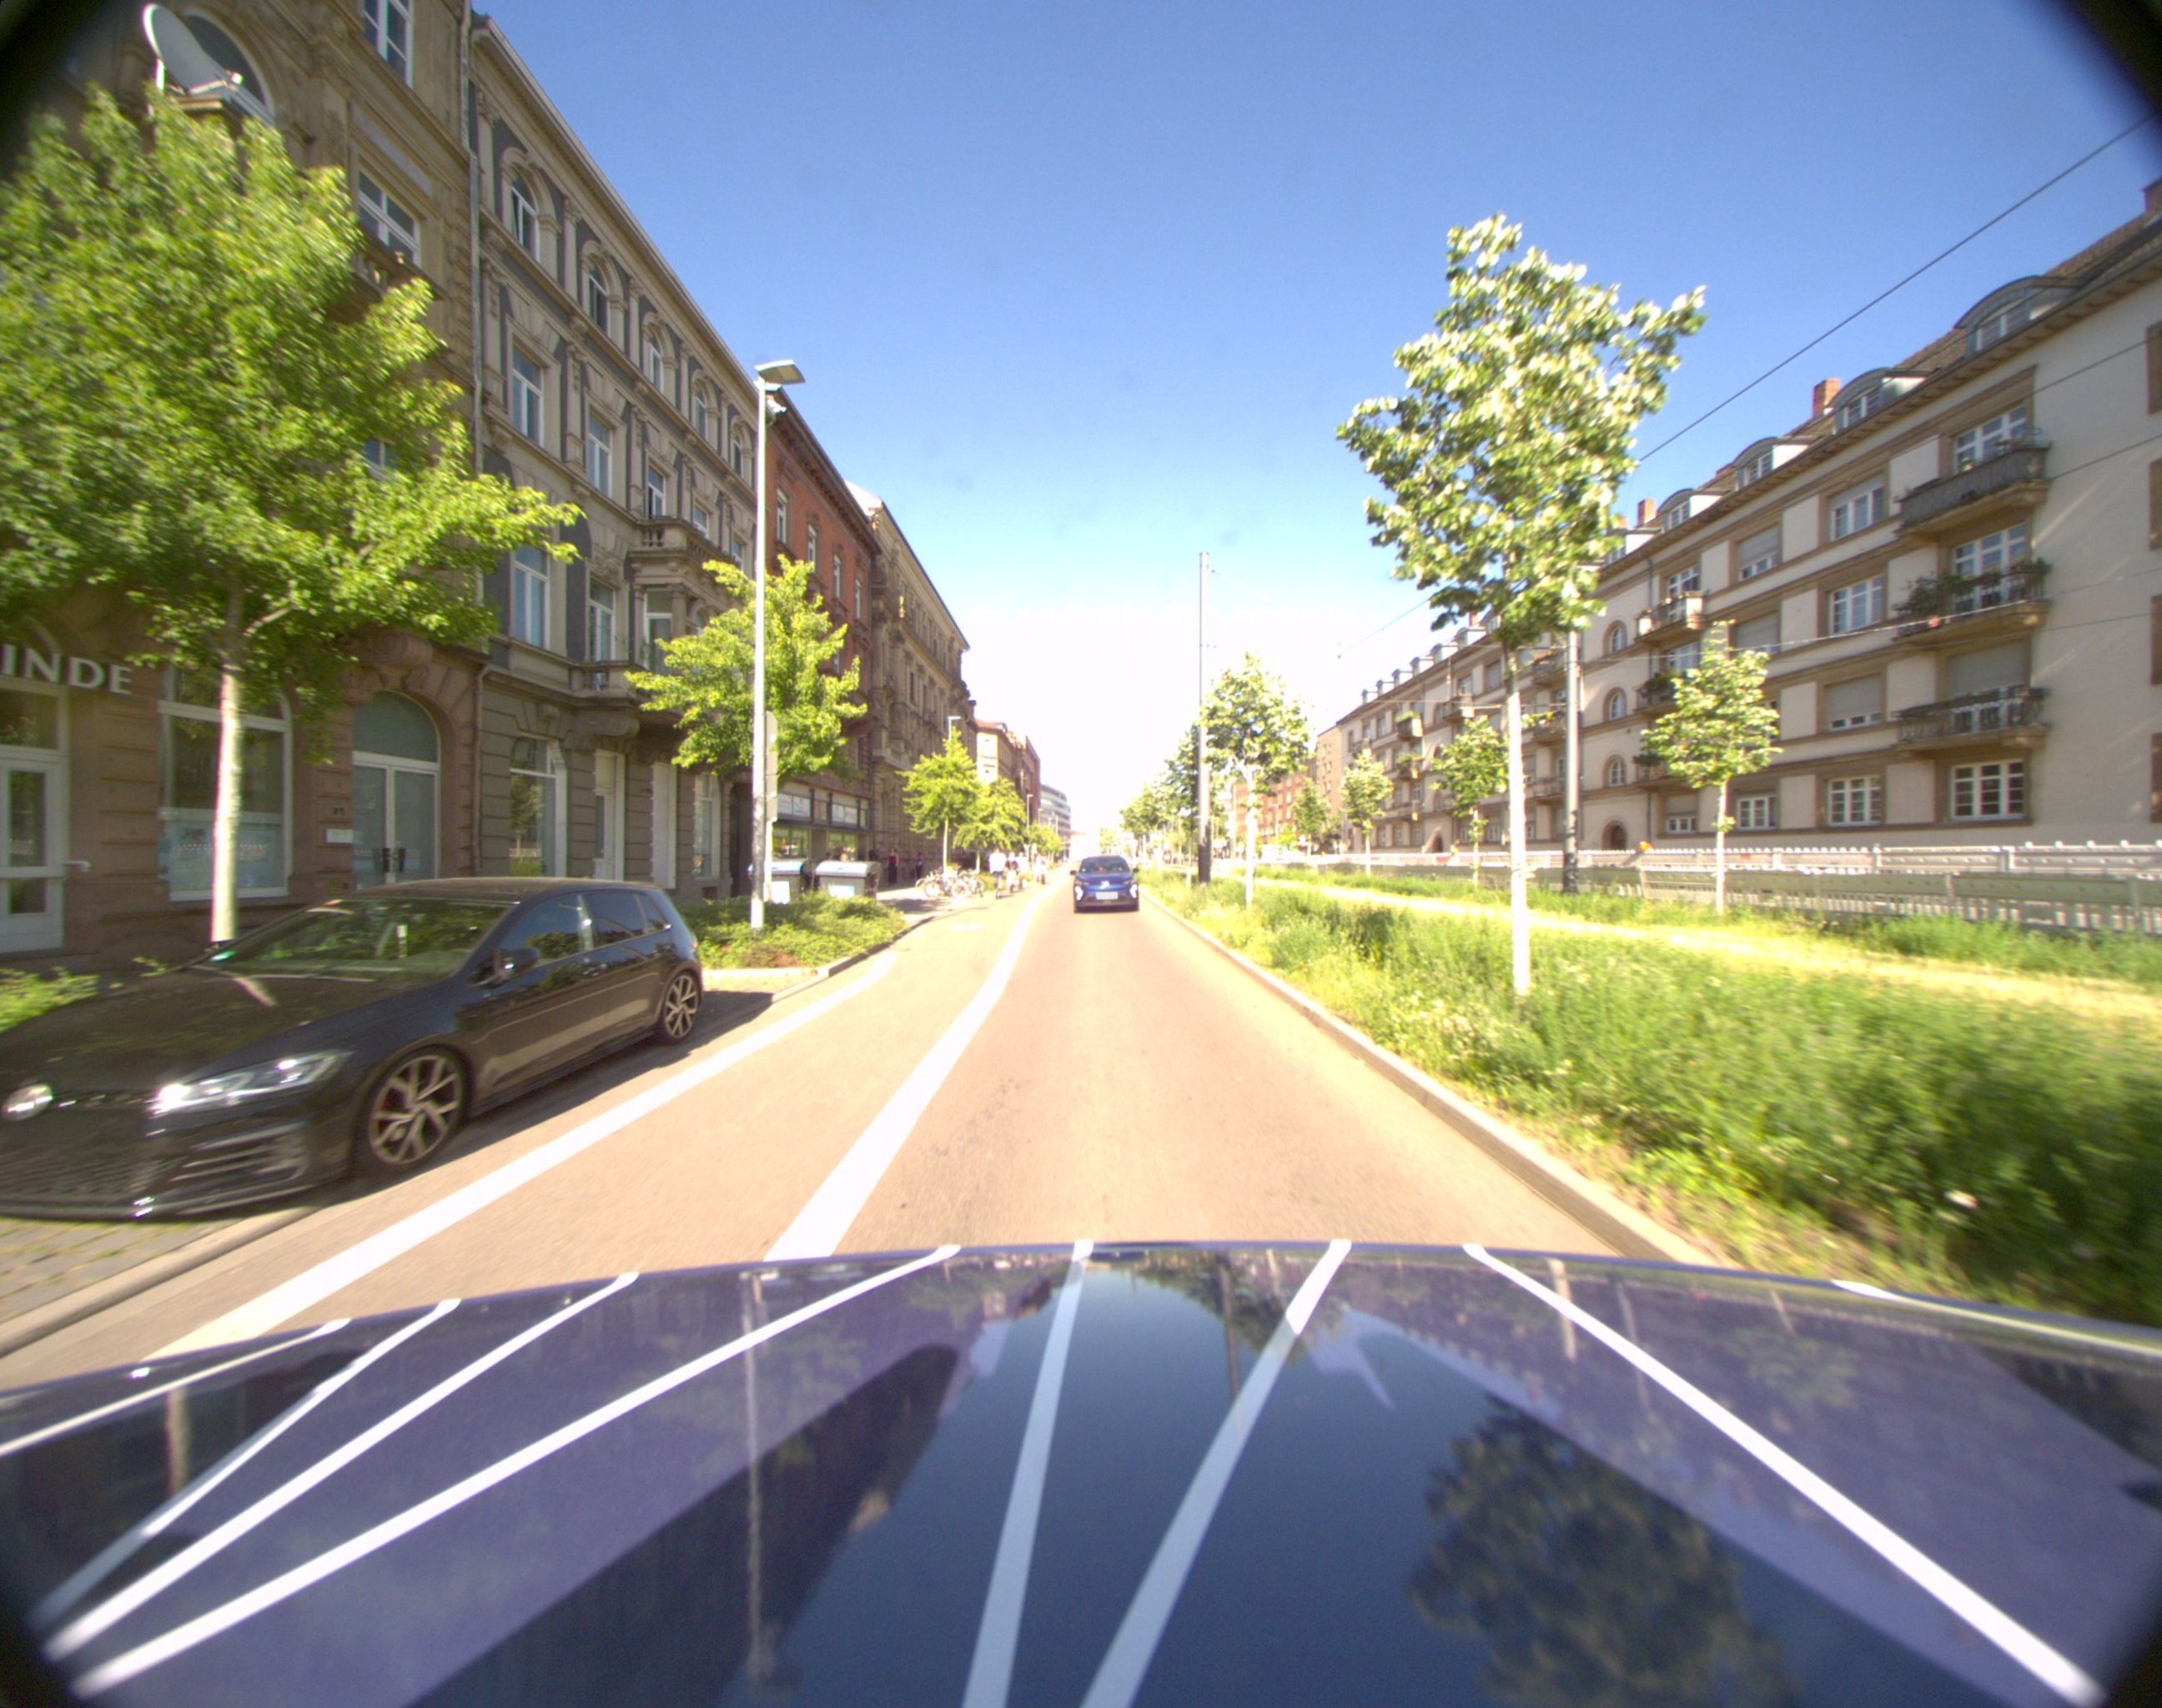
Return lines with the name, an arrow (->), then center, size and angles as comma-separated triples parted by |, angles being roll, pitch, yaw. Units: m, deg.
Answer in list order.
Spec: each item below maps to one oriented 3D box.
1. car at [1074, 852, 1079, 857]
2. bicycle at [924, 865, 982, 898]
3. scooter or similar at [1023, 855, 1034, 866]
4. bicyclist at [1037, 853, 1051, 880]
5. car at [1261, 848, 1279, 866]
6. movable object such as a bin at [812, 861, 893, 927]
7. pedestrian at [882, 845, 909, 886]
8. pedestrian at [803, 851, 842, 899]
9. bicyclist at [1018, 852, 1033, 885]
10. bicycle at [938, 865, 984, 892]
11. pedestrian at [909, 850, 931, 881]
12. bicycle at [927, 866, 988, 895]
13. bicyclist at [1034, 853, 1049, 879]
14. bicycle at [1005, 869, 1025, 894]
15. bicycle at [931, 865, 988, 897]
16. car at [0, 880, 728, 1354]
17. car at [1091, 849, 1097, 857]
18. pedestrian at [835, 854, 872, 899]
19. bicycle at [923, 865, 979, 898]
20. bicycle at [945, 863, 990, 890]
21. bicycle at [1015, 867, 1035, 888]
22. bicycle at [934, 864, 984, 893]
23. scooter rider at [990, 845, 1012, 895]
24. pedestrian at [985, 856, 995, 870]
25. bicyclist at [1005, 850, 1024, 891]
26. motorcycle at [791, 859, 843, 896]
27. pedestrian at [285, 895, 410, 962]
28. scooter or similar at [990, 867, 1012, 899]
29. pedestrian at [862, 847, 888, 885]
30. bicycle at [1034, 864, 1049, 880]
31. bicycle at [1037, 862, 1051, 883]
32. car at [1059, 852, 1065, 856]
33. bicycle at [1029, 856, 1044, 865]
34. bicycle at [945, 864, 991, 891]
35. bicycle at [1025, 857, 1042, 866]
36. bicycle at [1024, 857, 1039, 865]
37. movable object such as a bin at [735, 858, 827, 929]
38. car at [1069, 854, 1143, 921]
car -> -1.489, 0.132, 248.092 | 1.745, 1.543, 4.000 | 0, 0, 1
bicycle -> -4.799, 1.026, 28.528 | 2.049, 1.100, 0.610 | 2, 1, -5
scooter or similar -> -5.928, 0.739, 85.379 | 1.199, 1.191, 0.487 | 0, 1, -4
bicyclist -> -2.203, 0.733, 45.245 | 0.725, 1.595, 0.895 | -2, 1, 1
car -> 26.240, 0.388, 105.541 | 1.997, 2.283, 5.191 | -1, 1, 9
movable object such as a bin -> -5.338, 0.918, 17.877 | 1.274, 1.454, 1.645 | -2, -2, 6
pedestrian -> -8.998, 0.545, 36.856 | 0.891, 1.909, 1.098 | 2, 1, 6
pedestrian -> -8.977, 0.734, 26.400 | 0.973, 1.629, 0.992 | 1, 0, 1
bicyclist -> -2.818, 0.719, 38.427 | 0.700, 1.647, 0.977 | -1, 1, -3
bicycle -> -4.947, 1.022, 31.469 | 1.820, 1.050, 0.571 | 1, 1, -5
pedestrian -> -9.130, 0.639, 43.186 | 0.972, 1.682, 1.113 | 2, 1, 0
bicycle -> -4.865, 1.036, 29.958 | 2.293, 1.096, 0.485 | 1, 1, -13
bicyclist -> -2.634, 0.799, 50.559 | 0.854, 1.717, 0.989 | -2, 1, 1
bicycle -> -2.948, 1.213, 34.084 | 0.725, 1.000, 1.952 | -2, 0, 0
bicycle -> -4.734, 1.059, 29.611 | 2.154, 1.148, 0.429 | 3, 0, -13
car -> -4.202, 1.044, 4.980 | 1.770, 1.468, 4.447 | 2, 1, -2
car -> 4.073, -0.225, 232.683 | 1.758, 2.472, 4.610 | -1, 0, 1
pedestrian -> -8.109, 0.785, 27.136 | 0.952, 1.557, 1.080 | 1, 0, 1
bicycle -> -4.798, 1.003, 28.120 | 1.980, 1.117, 0.481 | 3, 0, -4
bicycle -> -4.866, 0.960, 32.585 | 1.871, 1.172, 0.373 | 0, 1, -2
bicycle -> -2.808, 1.169, 38.453 | 0.725, 1.000, 1.953 | -2, 0, 3
bicycle -> -4.996, 0.995, 31.125 | 1.982, 1.102, 0.435 | 1, 1, -2
scooter rider -> -3.047, 0.615, 28.915 | 0.662, 1.855, 0.898 | -1, 1, 1
pedestrian -> -7.849, 0.739, 65.566 | 0.719, 1.176, 0.881 | 0, 1, 0
bicyclist -> -2.961, 0.718, 34.077 | 0.725, 1.807, 1.091 | -2, 1, -1
motorcycle -> -9.773, 0.831, 28.262 | 0.868, 1.259, 2.981 | 0, 1, 1
pedestrian -> -10.406, 1.032, 10.826 | 0.873, 0.814, 0.979 | -2, 1, -12
scooter or similar -> -3.031, 1.100, 28.909 | 0.647, 1.151, 1.150 | -1, 1, 1
pedestrian -> -9.647, 0.565, 35.607 | 0.848, 1.726, 0.903 | 3, 1, 7
bicycle -> -2.626, 1.176, 50.556 | 0.830, 1.000, 1.952 | -2, 0, 1
bicycle -> -2.193, 1.095, 45.224 | 0.725, 1.187, 1.952 | -2, 0, 1
car -> -6.314, 0.013, 248.839 | 1.745, 1.543, 4.000 | 0, 0, 0
bicycle -> -5.399, 0.784, 91.766 | 1.678, 1.056, 1.134 | 3, 1, -1
bicycle -> -4.881, 1.013, 32.941 | 1.897, 1.102, 0.517 | 1, 1, -4
bicycle -> -5.414, 0.873, 86.895 | 1.905, 0.906, 0.592 | 2, 2, 9
bicycle -> -5.664, 0.830, 87.528 | 1.717, 0.920, 0.497 | 0, 1, 1
movable object such as a bin -> -6.943, 0.875, 17.731 | 1.376, 1.487, 1.749 | 2, 1, 2
car -> 0.653, 0.836, 21.214 | 1.758, 1.576, 4.420 | -3, 0, 1
